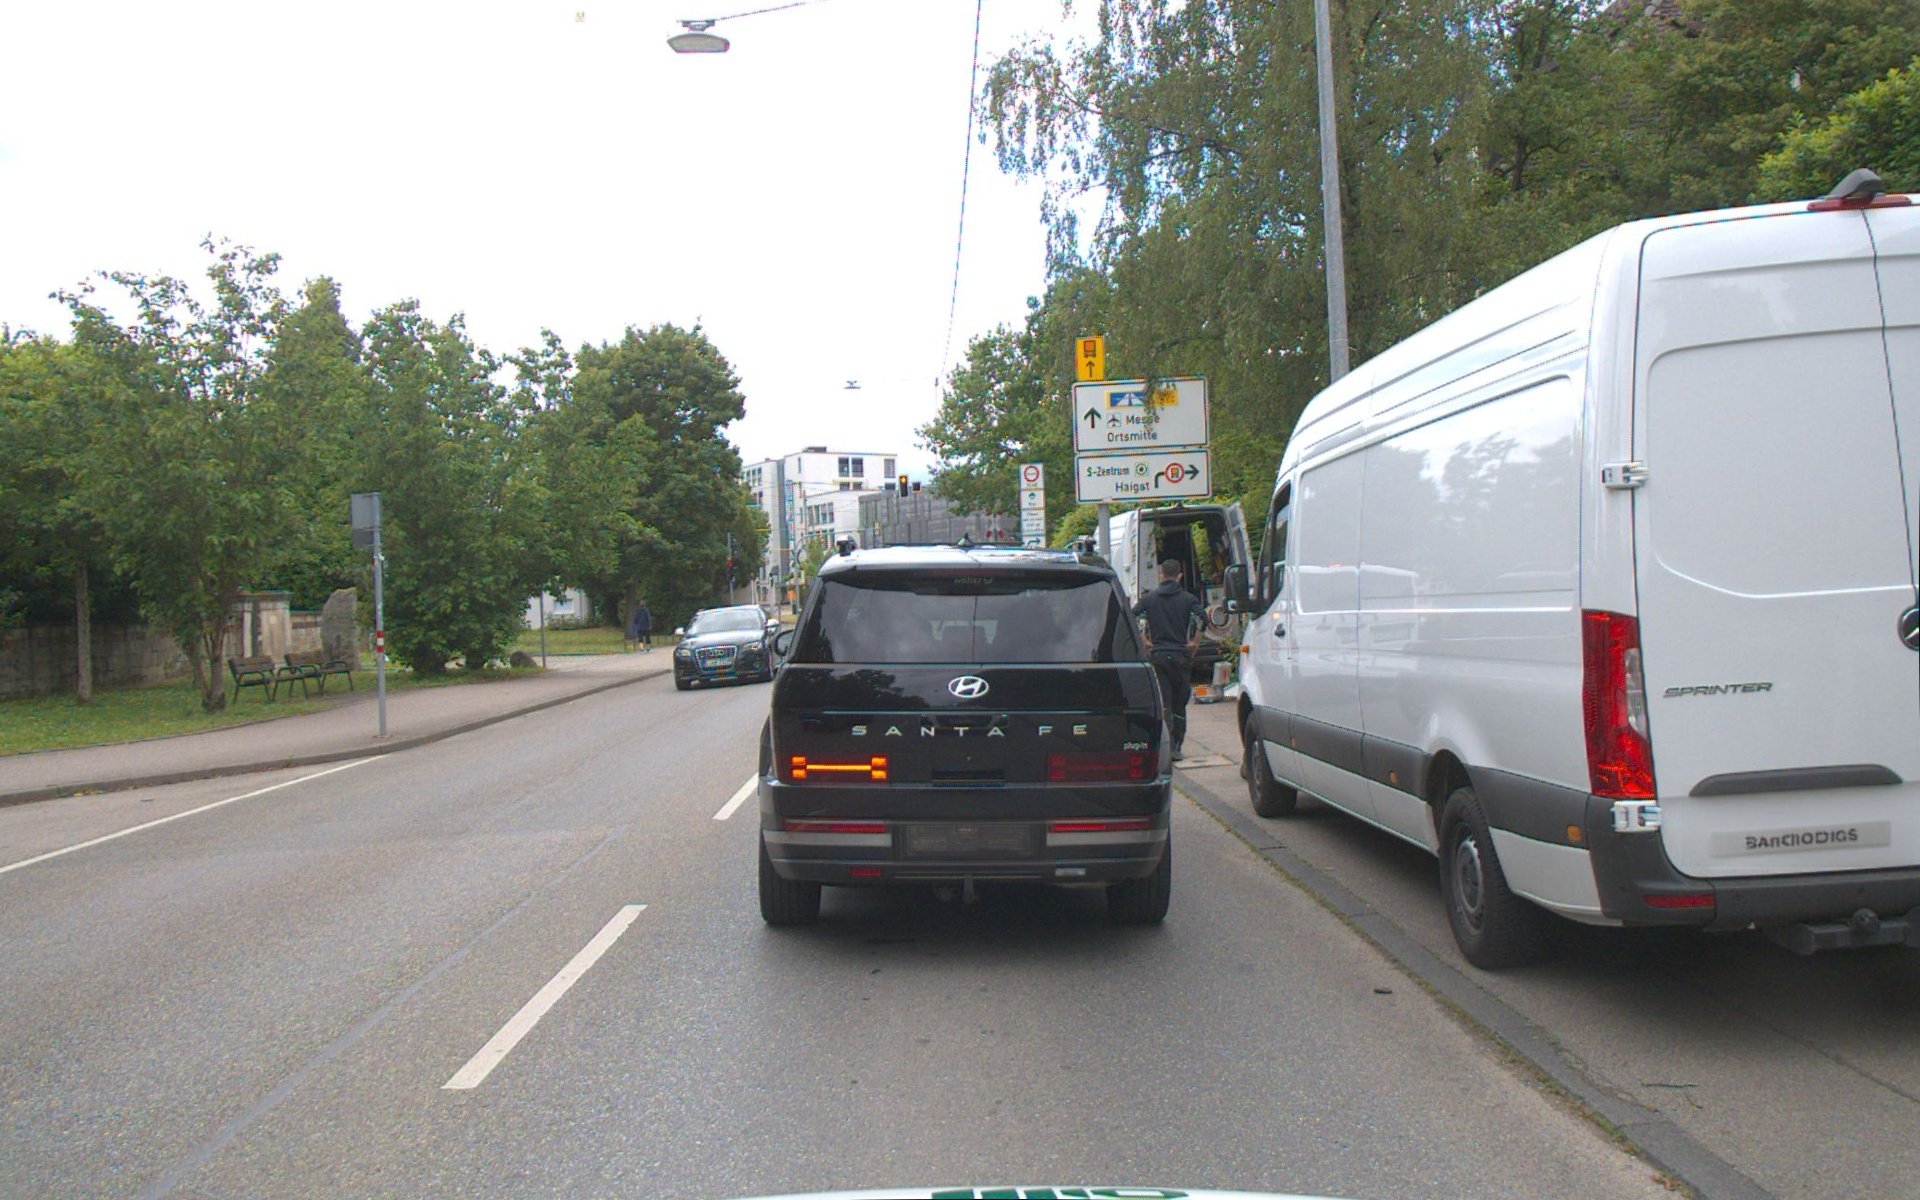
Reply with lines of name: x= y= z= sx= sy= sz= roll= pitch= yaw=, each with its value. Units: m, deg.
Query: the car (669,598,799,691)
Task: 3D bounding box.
car: x=-4.134 y=0.777 z=30.865 sx=1.822 sy=1.478 sz=4.110 roll=-4 pitch=0 yaw=-1

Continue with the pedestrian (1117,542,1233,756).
pedestrian: x=1.914 y=0.424 z=14.666 sx=0.742 sy=1.828 sz=0.872 roll=-2 pitch=0 yaw=25

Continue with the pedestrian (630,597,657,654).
pedestrian: x=-9.767 y=0.782 z=51.025 sx=0.724 sy=1.745 sz=0.791 roll=-2 pitch=0 yaw=-8

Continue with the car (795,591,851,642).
car: x=-4.967 y=0.568 z=60.458 sx=1.749 sy=1.682 sz=4.118 roll=-4 pitch=0 yaw=-2

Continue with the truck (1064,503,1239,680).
truck: x=3.115 y=-0.120 z=28.107 sx=1.904 sy=2.606 sz=5.212 roll=-3 pitch=0 yaw=-4

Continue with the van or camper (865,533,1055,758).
van or camper: x=-0.031 y=0.421 z=17.477 sx=1.719 sy=2.049 sz=3.999 roll=-2 pitch=0 yaw=-1

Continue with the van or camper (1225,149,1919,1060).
van or camper: x=2.892 y=-0.019 z=8.173 sx=1.953 sy=2.665 sz=6.540 roll=-2 pitch=0 yaw=-1

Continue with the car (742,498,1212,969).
car: x=0.041 y=0.516 z=8.533 sx=1.851 sy=1.851 sz=3.999 roll=0 pitch=0 yaw=-1
